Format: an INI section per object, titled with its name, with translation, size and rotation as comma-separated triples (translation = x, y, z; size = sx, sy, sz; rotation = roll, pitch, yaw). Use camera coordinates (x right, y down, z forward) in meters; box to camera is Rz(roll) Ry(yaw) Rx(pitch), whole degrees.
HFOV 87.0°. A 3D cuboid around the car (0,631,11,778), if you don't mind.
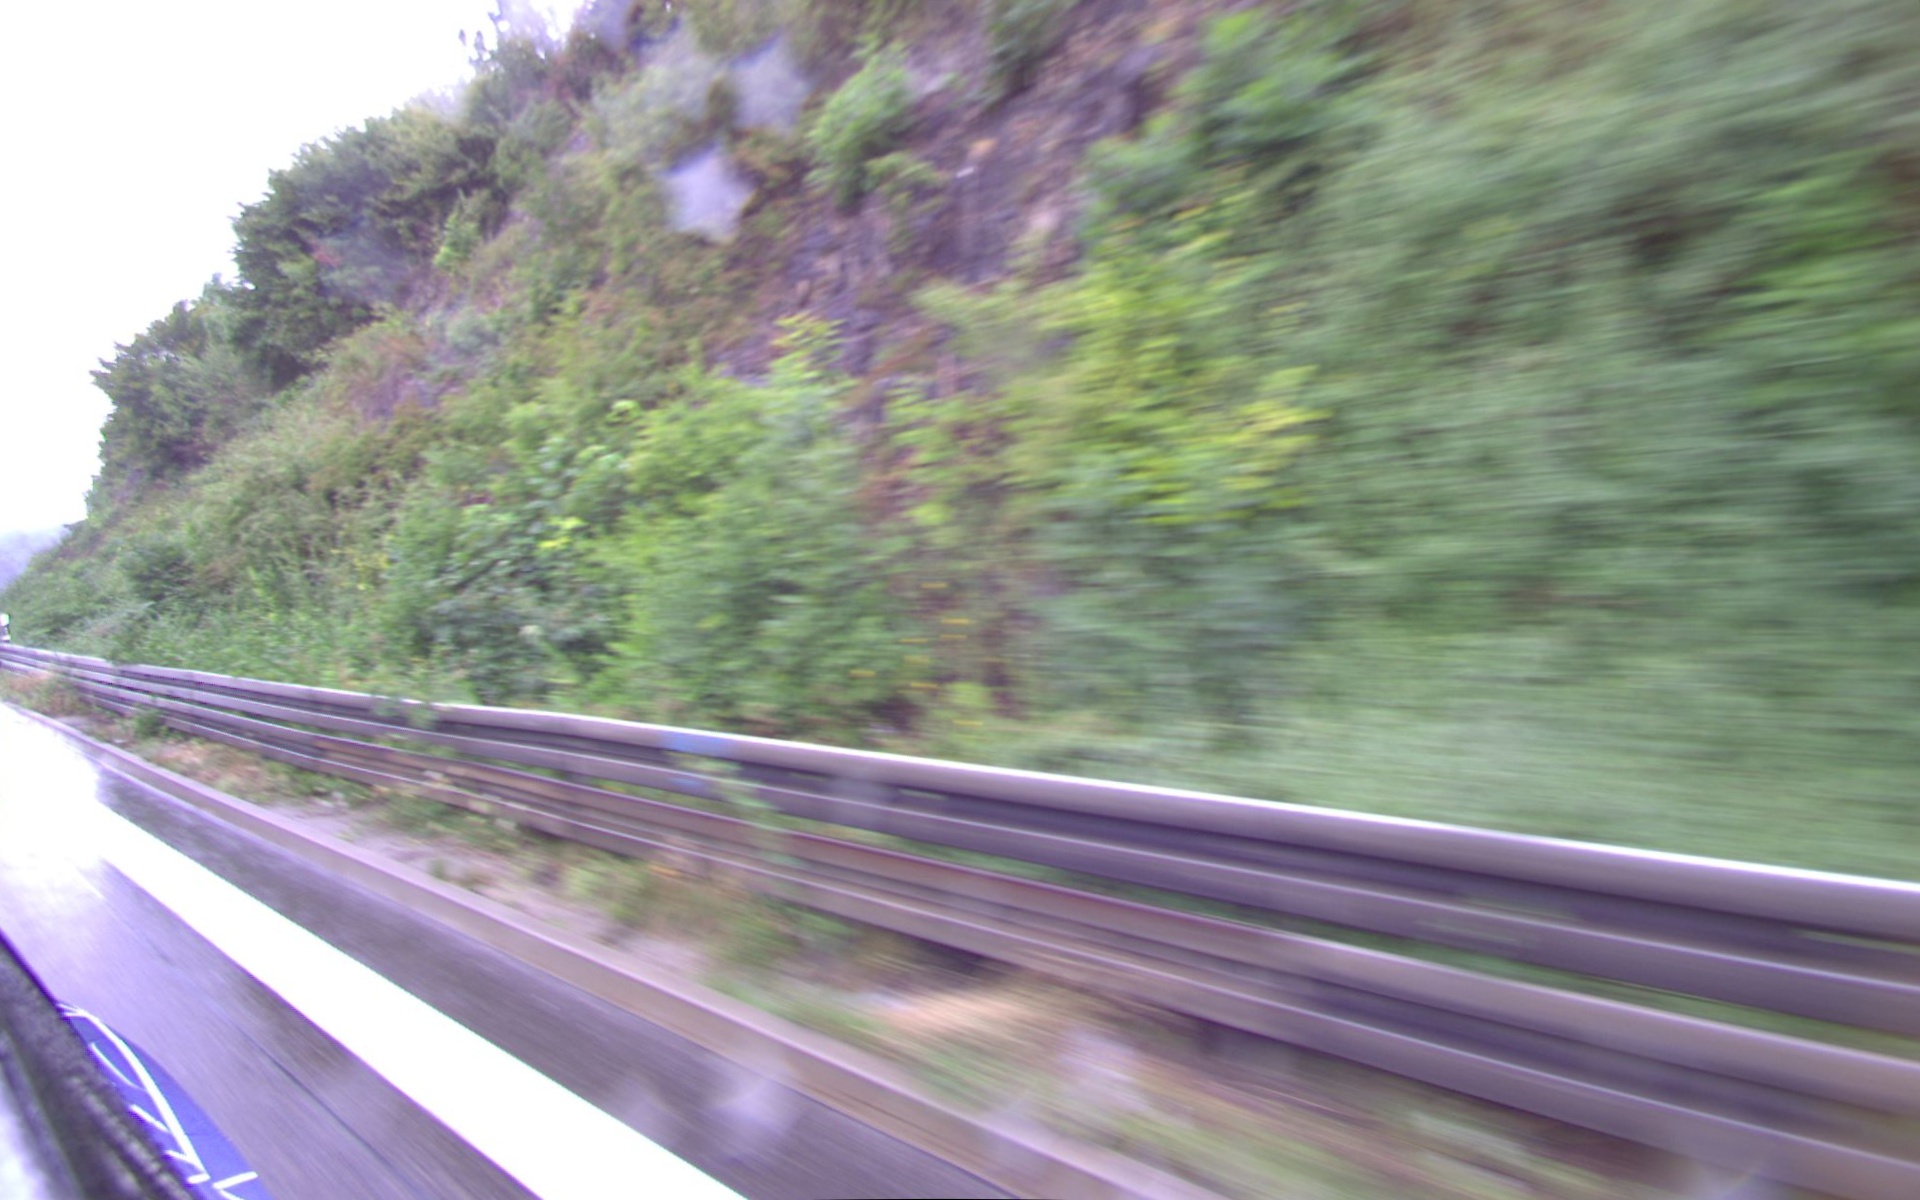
[car]
translation = -10.882, 0.991, 9.904
size = 4.131, 1.334, 1.816
rotation = -2, -2, 40
